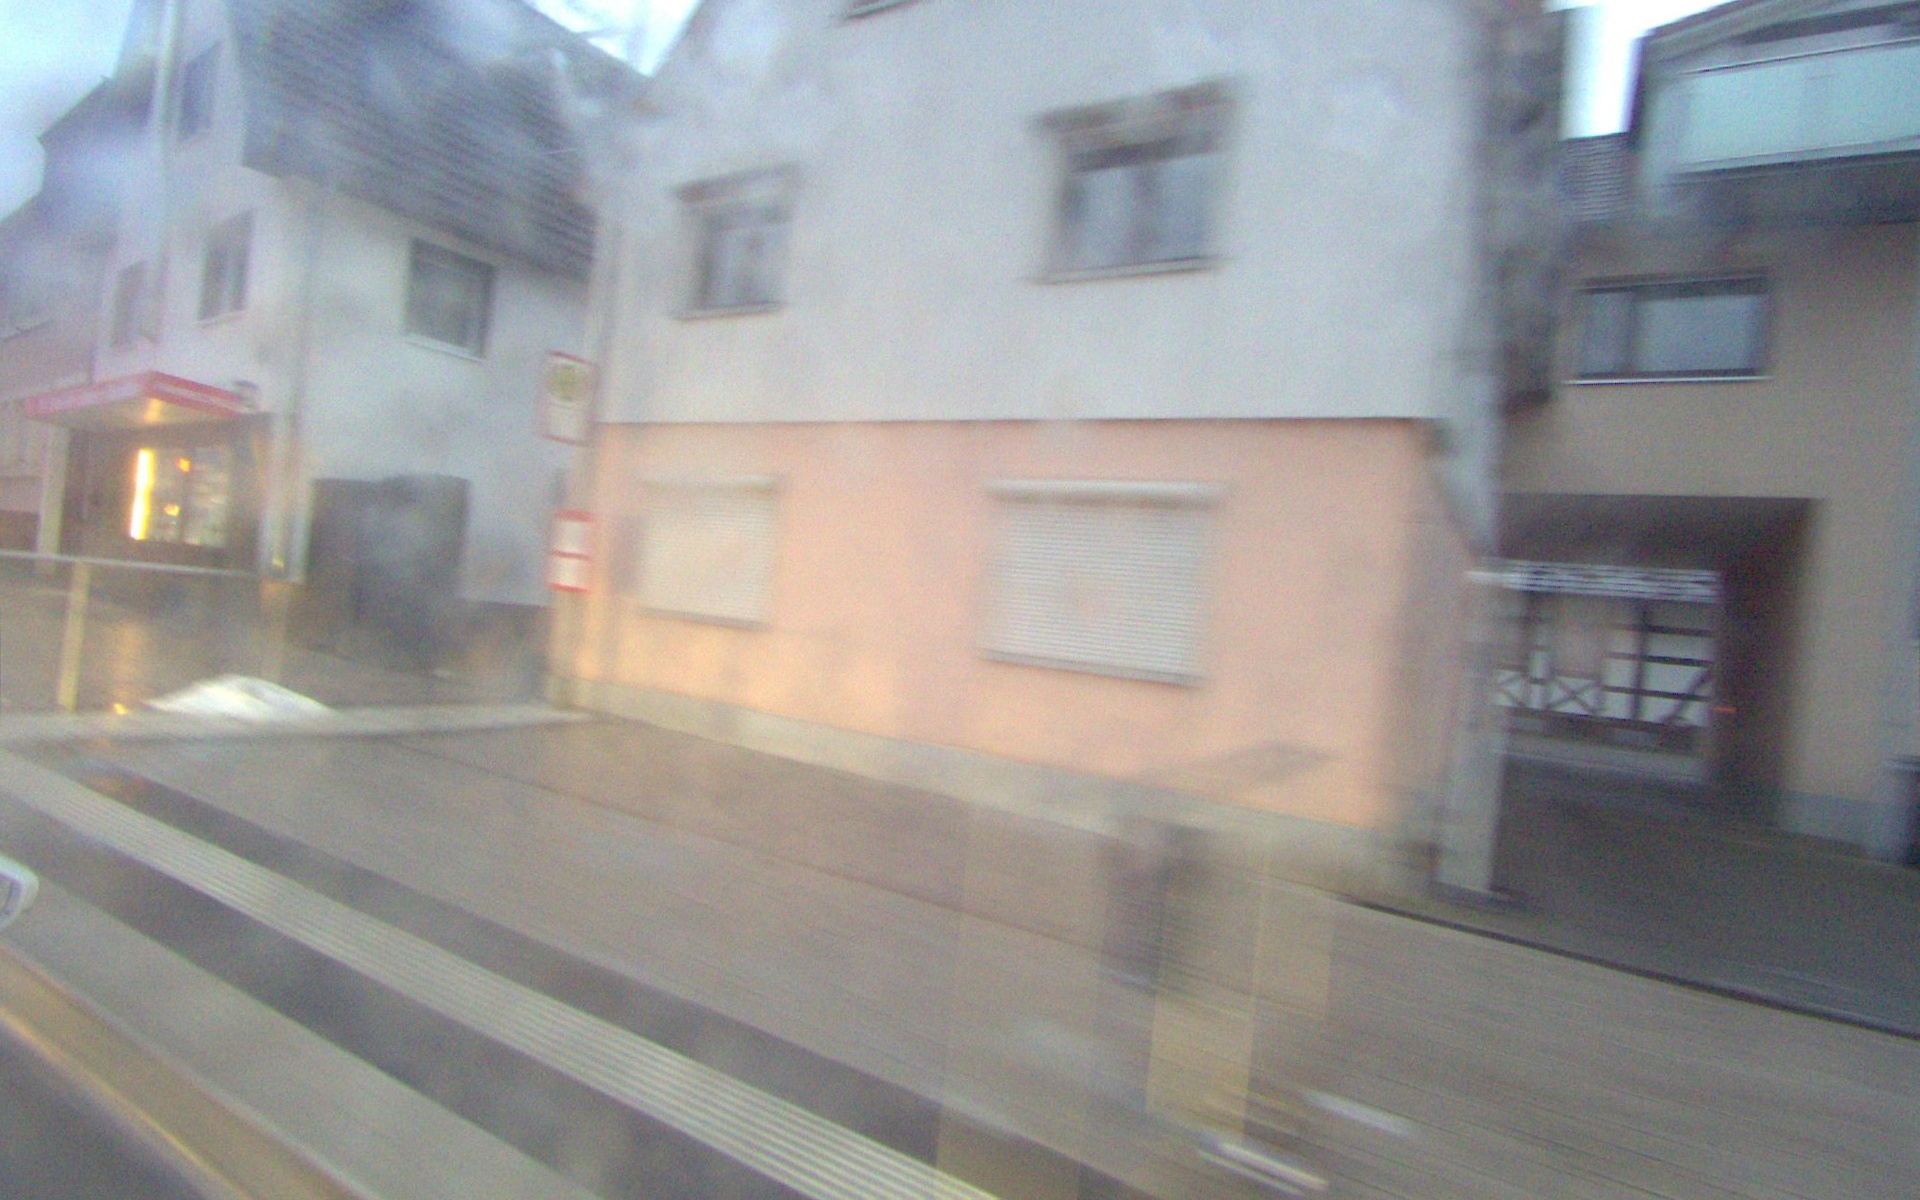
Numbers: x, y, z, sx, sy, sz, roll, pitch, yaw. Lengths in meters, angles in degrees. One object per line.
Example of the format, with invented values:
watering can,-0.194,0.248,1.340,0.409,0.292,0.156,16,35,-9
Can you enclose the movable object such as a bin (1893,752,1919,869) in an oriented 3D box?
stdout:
movable object such as a bin,9.478,2.053,9.623,0.552,1.054,0.728,7,1,30
